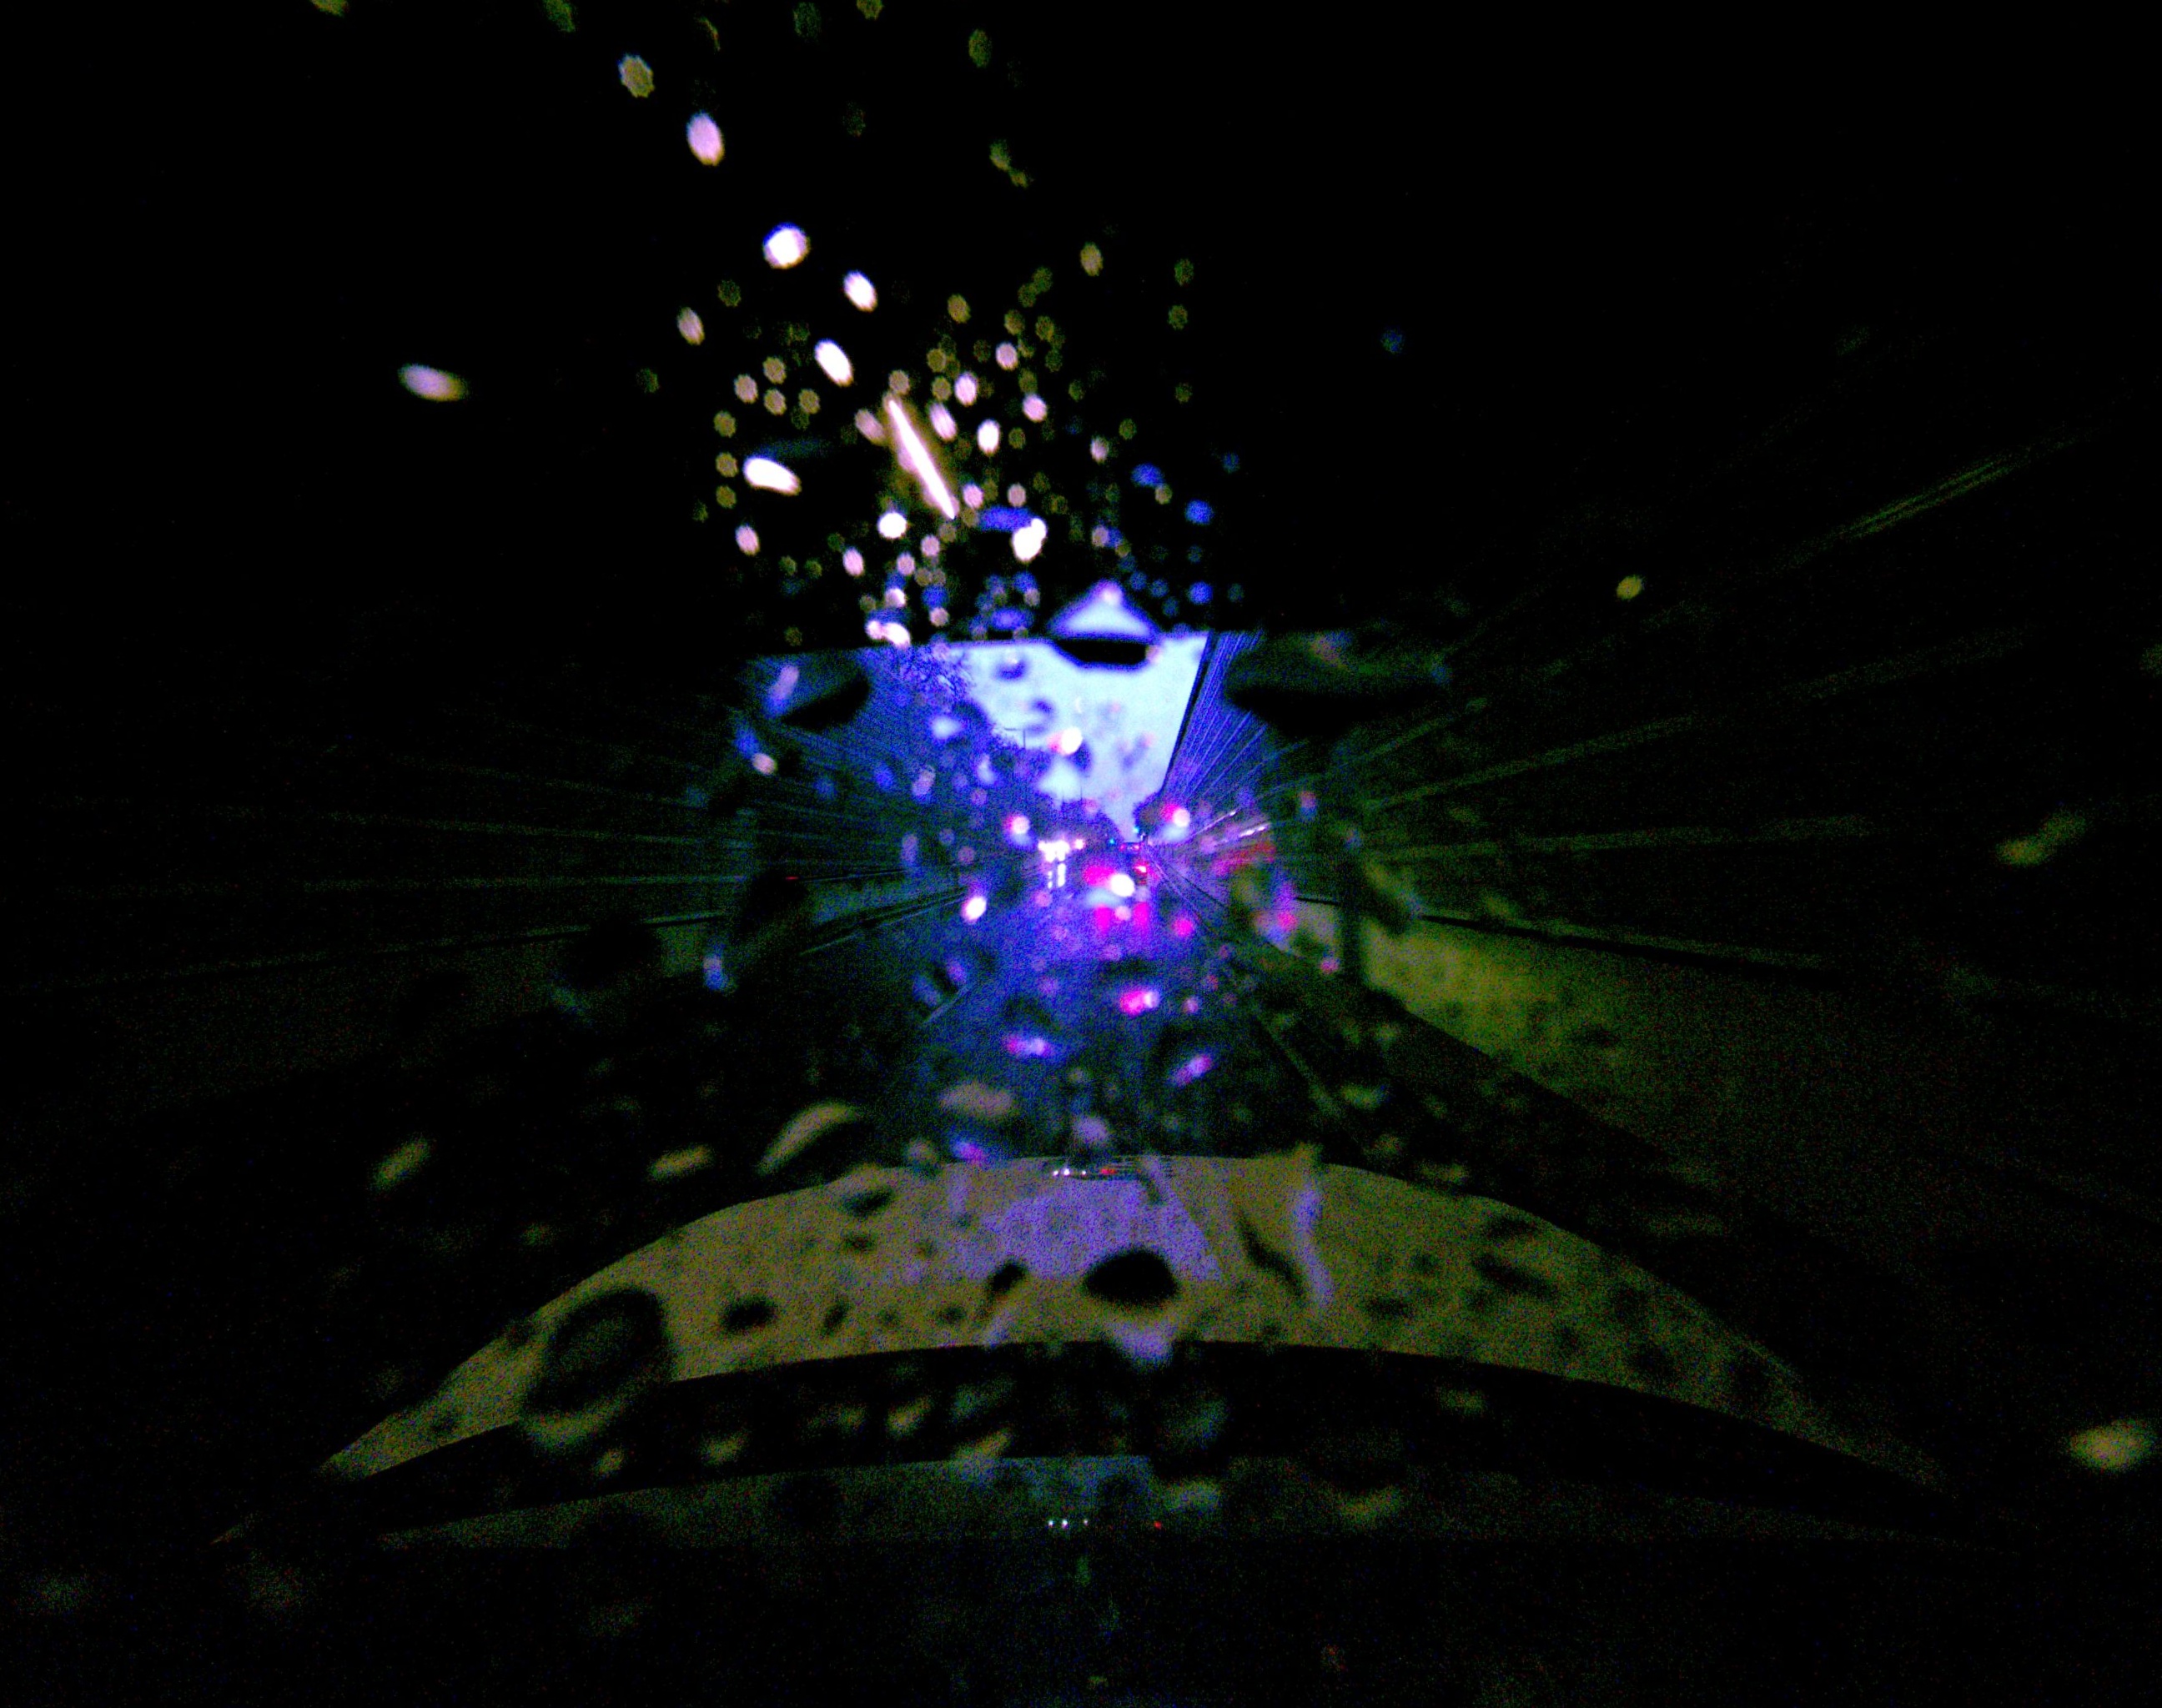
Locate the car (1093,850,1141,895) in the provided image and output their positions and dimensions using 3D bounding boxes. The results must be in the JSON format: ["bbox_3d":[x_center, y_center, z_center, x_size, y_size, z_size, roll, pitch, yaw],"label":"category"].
[{"bbox_3d":[1.263,0.605,27.809,1.525,1.397,3.437,-1,0,4],"label":"car"}]

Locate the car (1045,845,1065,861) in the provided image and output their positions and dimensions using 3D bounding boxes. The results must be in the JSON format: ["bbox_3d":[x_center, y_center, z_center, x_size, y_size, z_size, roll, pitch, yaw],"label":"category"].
[{"bbox_3d":[-2.877,-0.081,91.813,1.872,1.621,4.004,-1,-2,4],"label":"car"}]

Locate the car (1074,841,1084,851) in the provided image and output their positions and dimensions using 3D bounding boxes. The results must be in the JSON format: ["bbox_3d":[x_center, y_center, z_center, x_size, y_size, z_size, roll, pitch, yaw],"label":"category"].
[{"bbox_3d":[-0.329,-1.419,142.473,1.565,1.470,3.690,-2,2,3],"label":"car"}]

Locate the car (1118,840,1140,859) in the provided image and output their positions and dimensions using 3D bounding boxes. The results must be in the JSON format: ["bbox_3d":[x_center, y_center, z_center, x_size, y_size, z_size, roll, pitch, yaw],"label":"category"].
[{"bbox_3d":[4.361,-0.366,74.538,1.873,1.621,4.001,-1,-2,2],"label":"car"}]
